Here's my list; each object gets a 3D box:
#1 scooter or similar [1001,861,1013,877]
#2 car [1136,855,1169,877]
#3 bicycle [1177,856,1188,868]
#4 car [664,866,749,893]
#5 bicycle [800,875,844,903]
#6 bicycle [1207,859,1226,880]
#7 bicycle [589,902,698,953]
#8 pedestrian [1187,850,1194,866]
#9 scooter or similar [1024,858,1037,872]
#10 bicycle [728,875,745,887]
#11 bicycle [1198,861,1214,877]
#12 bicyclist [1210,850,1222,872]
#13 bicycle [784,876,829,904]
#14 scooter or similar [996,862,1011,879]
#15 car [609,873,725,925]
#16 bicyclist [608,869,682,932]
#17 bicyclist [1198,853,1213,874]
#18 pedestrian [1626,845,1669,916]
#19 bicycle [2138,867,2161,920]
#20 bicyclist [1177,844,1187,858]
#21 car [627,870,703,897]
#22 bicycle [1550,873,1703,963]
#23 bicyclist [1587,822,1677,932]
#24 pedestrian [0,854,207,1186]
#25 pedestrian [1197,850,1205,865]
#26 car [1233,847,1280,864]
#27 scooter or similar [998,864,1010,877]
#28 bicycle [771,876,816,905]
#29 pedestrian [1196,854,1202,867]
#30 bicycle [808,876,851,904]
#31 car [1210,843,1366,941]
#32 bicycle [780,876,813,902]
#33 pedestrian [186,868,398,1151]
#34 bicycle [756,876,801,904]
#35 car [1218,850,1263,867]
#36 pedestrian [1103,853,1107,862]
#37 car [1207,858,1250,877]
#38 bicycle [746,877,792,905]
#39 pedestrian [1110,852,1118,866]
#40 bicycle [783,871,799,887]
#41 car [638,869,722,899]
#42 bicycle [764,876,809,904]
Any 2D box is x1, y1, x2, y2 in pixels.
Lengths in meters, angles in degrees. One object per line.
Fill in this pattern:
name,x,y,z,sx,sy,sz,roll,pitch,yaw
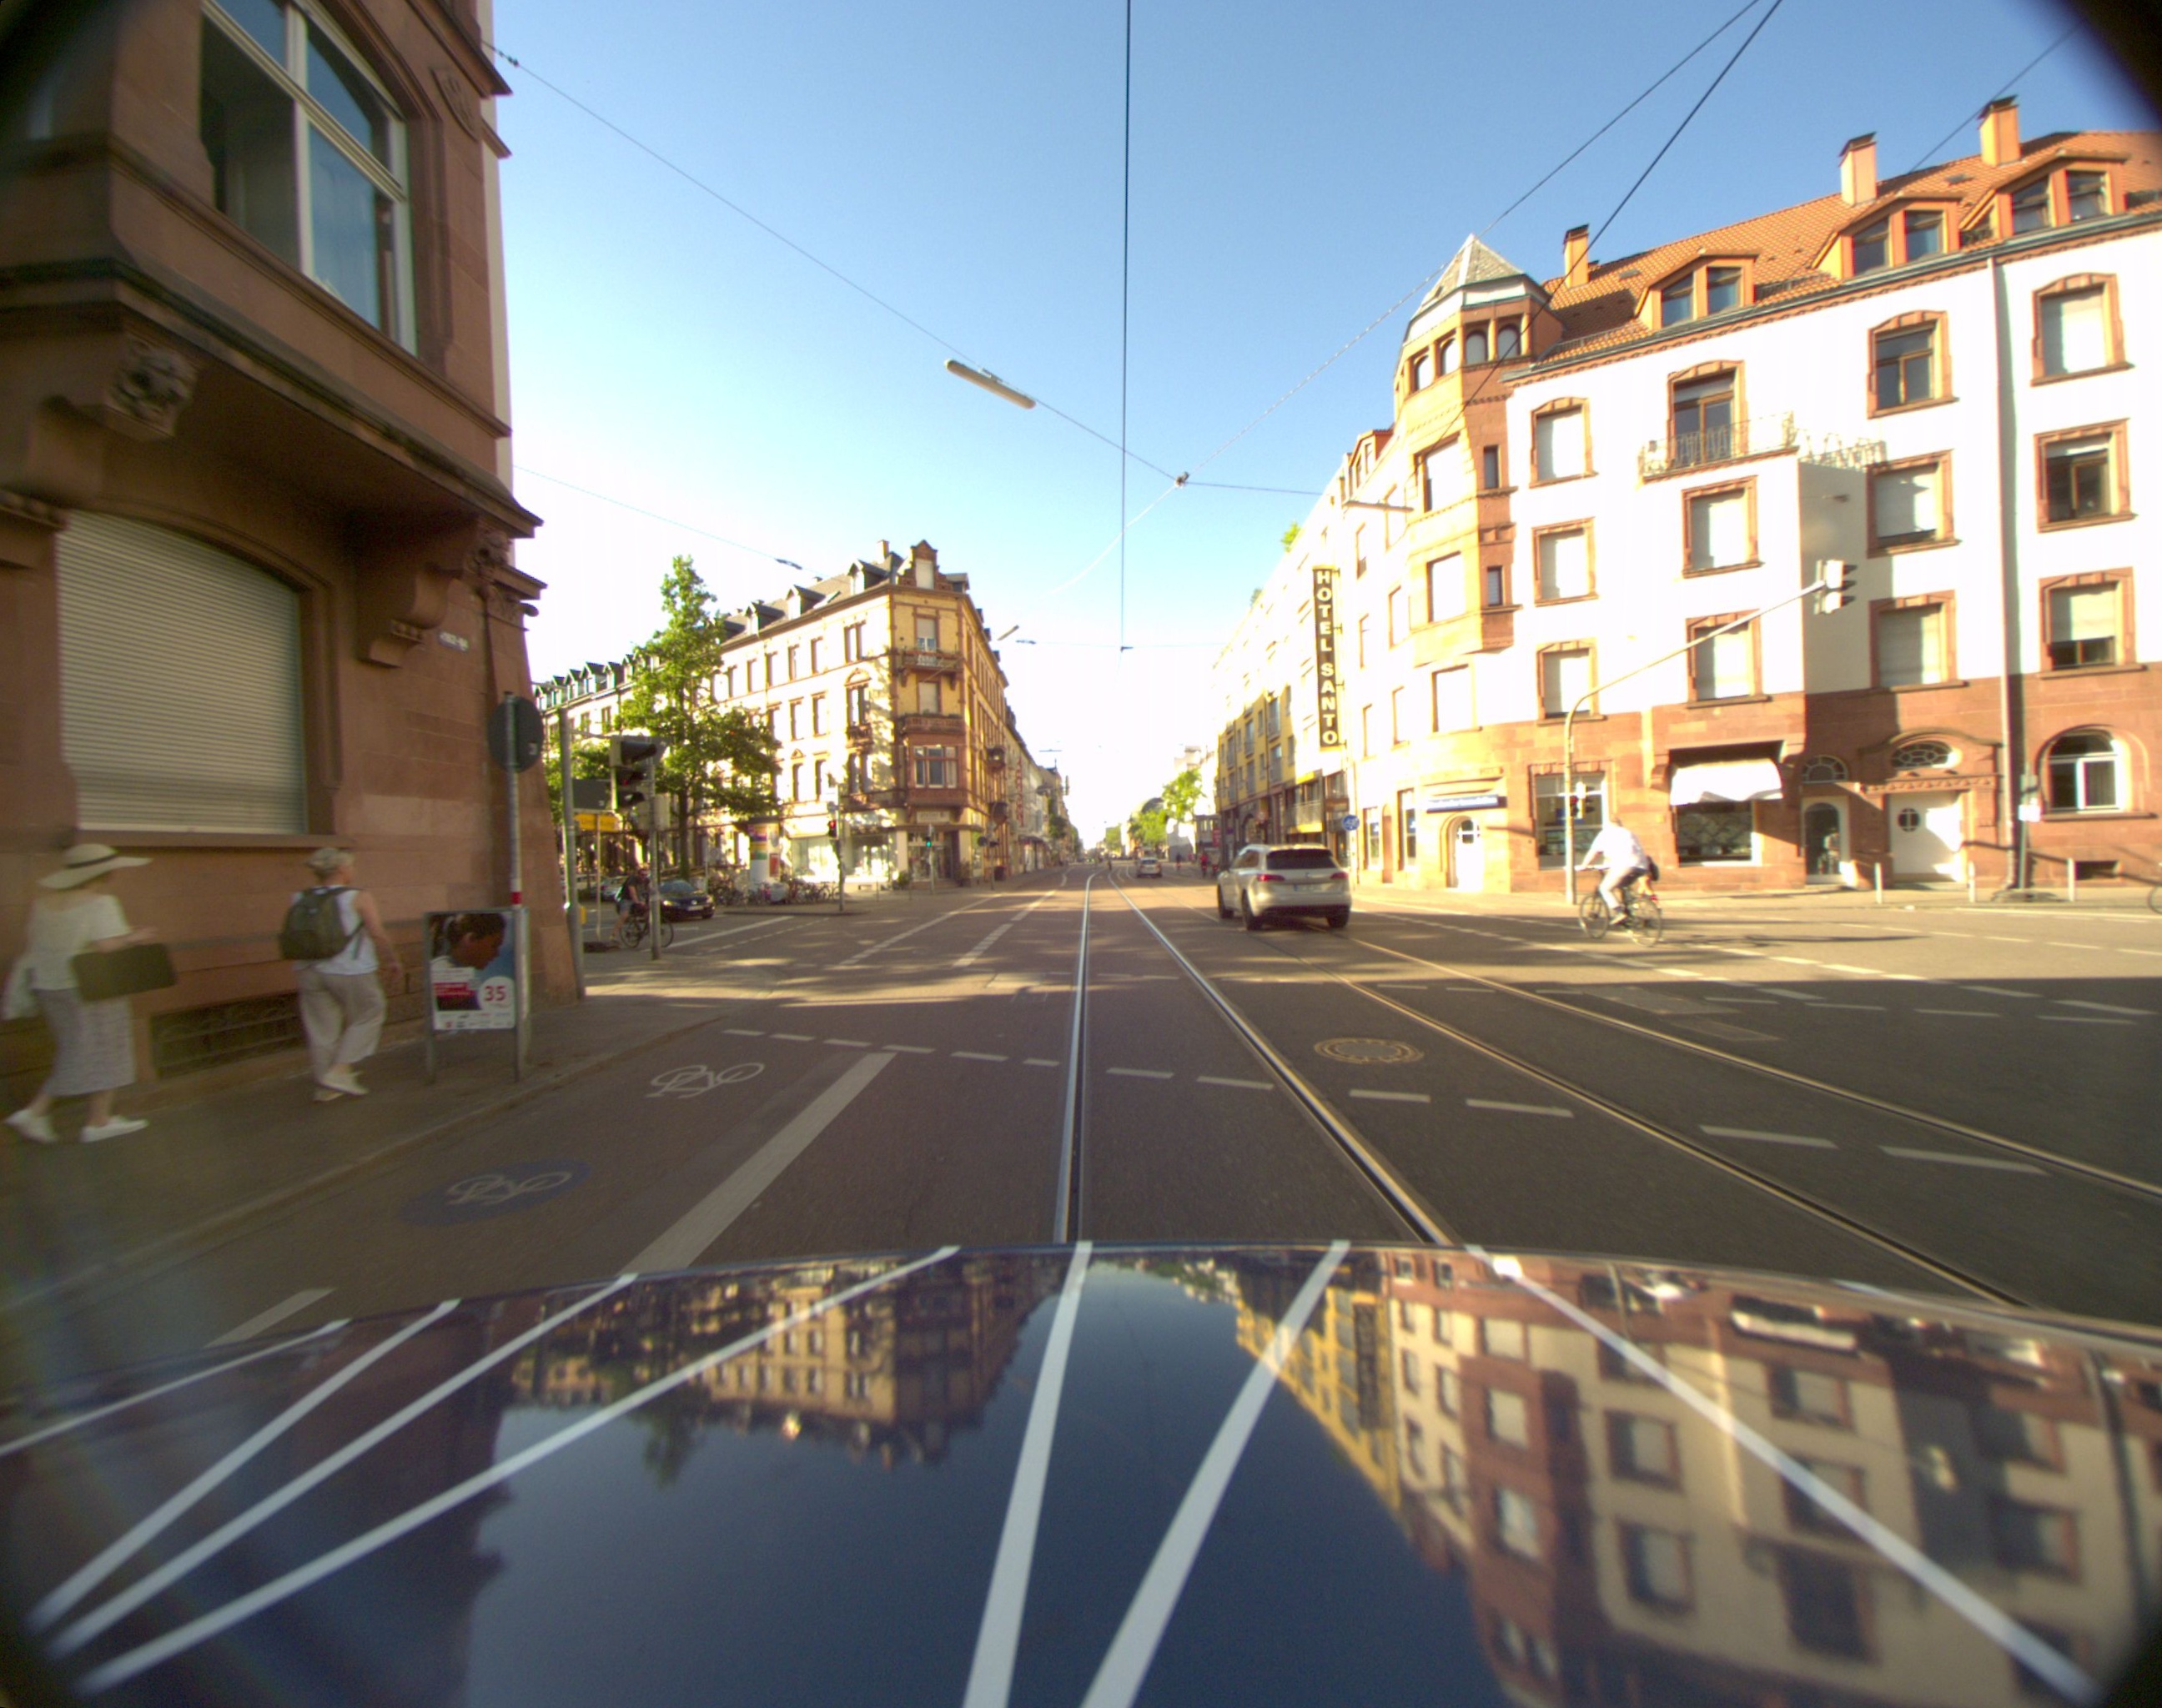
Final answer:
scooter or similar,-5.468,1.133,56.267,0.792,1.142,0.790,2,0,-1
car,5.185,0.850,55.794,1.990,1.493,4.308,-2,0,0
bicycle,10.004,0.789,75.055,0.732,1.082,2.061,-2,0,-1
car,-21.544,1.435,43.877,1.820,1.363,4.007,-1,0,30
bicycle,-12.050,1.626,35.443,0.617,1.136,2.123,-2,1,23
bicycle,8.550,0.953,48.120,0.732,1.177,2.061,-3,2,-1
bicycle,-9.790,1.646,17.017,2.093,1.038,0.848,-2,0,15
pedestrian,13.268,0.462,91.836,0.639,1.935,0.709,-2,1,-1
scooter or similar,-5.196,1.143,78.083,0.410,1.273,1.287,29,-1,17
bicycle,-22.774,1.798,50.227,1.342,0.793,0.398,-2,1,36
bicycle,8.533,0.989,51.840,0.732,1.059,2.061,1,0,-1
bicyclist,8.574,0.445,48.363,0.591,1.368,0.679,-2,1,-1
bicycle,-12.743,1.657,35.379,0.617,1.136,2.122,-2,2,23
scooter or similar,-5.391,1.143,52.847,0.899,1.142,0.547,3,0,-1
car,-13.921,1.468,25.472,4.238,1.490,1.849,-2,1,38
bicyclist,-9.742,1.029,17.013,1.133,1.335,0.839,-2,0,14
bicyclist,8.531,0.648,51.988,0.737,1.373,1.468,-2,0,-1
pedestrian,12.807,0.591,17.198,0.544,1.543,0.516,-2,1,-1
bicycle,19.829,0.686,13.107,0.793,0.904,1.809,-2,0,-38
bicyclist,9.965,-0.309,75.034,0.726,1.373,1.227,-2,0,-1
car,-26.630,1.857,48.718,1.547,1.516,4.007,-2,0,31
bicycle,7.826,0.873,11.040,0.694,1.114,2.083,-2,0,0
bicyclist,7.801,0.314,10.789,0.684,1.474,0.778,-2,0,0
pedestrian,-5.862,0.904,4.420,0.707,1.772,0.673,-2,0,-1
pedestrian,14.127,0.416,89.453,0.715,1.754,0.779,-2,1,-8
car,17.258,0.128,74.769,4.244,1.539,1.784,-1,2,1
scooter or similar,-5.570,1.194,55.077,0.792,0.952,0.680,2,0,-1
bicycle,-13.448,1.708,35.636,0.617,1.136,2.122,-2,2,23
pedestrian,14.206,0.793,91.589,0.573,1.608,0.499,-2,0,0
bicycle,-11.637,1.643,35.222,0.617,1.136,2.123,-2,2,23
car,4.193,0.690,16.244,1.999,1.734,4.562,-2,0,0
bicycle,-14.439,1.771,38.610,0.543,1.136,1.619,-2,2,23
pedestrian,-5.127,0.951,4.988,0.628,1.691,0.682,-2,0,-8
bicycle,-14.437,1.727,36.286,0.617,1.136,2.122,-2,2,23
car,16.234,0.477,77.383,4.243,1.600,1.785,-2,0,1
pedestrian,4.698,0.709,148.900,0.716,1.635,0.400,-2,1,3
car,15.473,1.397,79.896,4.244,1.802,1.784,-1,2,1
bicycle,-14.979,1.767,36.534,0.617,1.136,2.122,-2,2,23
pedestrian,3.777,0.599,86.277,0.781,1.551,0.650,-2,0,1
bicycle,-17.679,1.521,46.342,0.996,0.998,0.398,-2,1,36
car,-23.762,1.744,45.185,1.820,1.592,4.007,-2,0,29
bicycle,-13.915,1.686,35.927,0.617,1.136,2.122,-2,2,23
